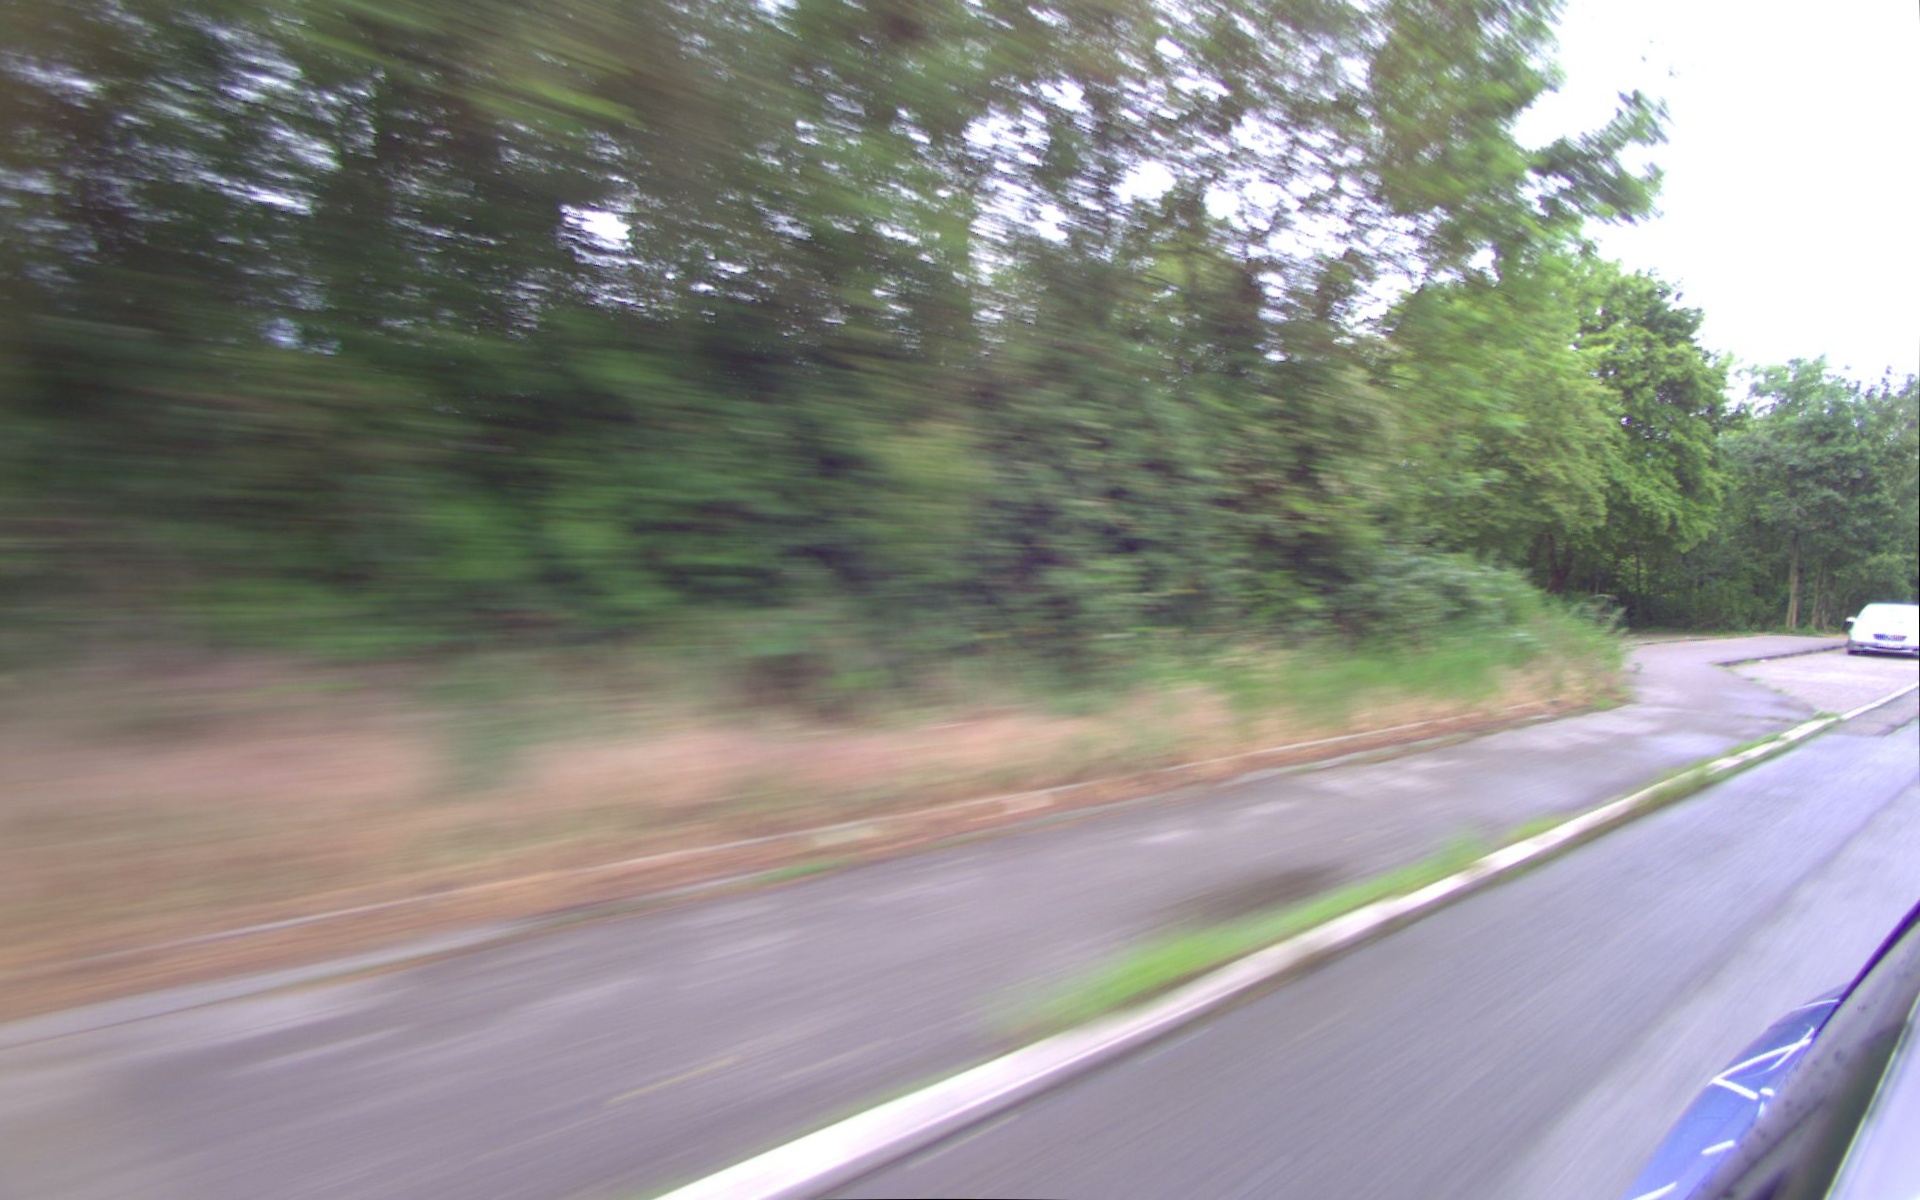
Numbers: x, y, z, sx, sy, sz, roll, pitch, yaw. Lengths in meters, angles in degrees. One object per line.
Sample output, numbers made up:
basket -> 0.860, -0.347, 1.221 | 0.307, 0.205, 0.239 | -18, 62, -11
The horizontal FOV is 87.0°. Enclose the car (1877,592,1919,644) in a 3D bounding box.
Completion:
car -> 30.911, 0.566, 32.350 | 4.587, 1.528, 1.810 | -1, 4, -42

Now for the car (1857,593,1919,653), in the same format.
car -> 26.356, 0.611, 28.253 | 1.745, 1.486, 4.154 | 4, 3, 44
